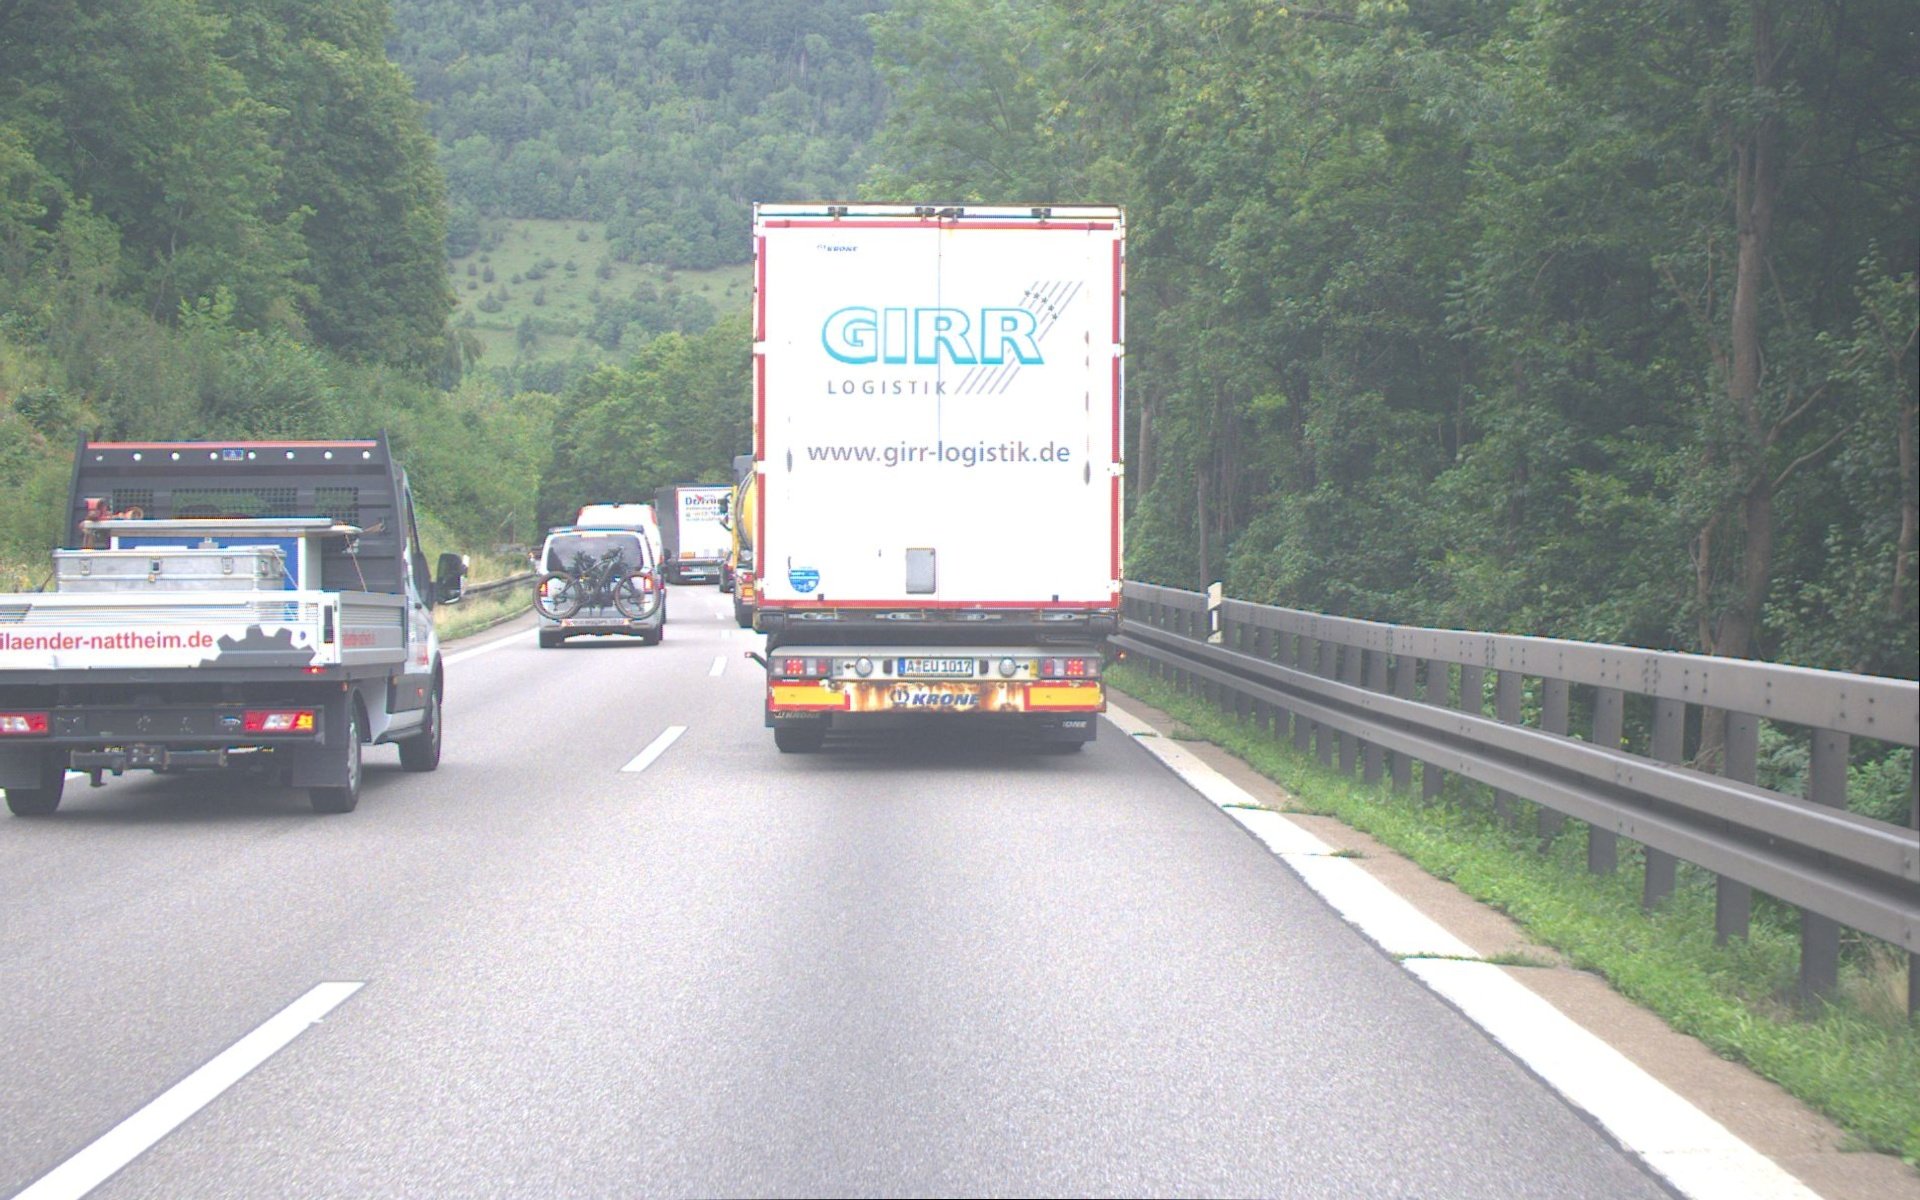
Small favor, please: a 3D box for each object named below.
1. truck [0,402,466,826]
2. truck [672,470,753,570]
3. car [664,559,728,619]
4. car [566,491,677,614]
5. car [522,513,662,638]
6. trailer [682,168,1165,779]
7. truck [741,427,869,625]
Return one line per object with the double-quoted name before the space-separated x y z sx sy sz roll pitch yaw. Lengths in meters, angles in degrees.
"truck" -4.680 0.024 21.957 2.349 2.266 6.850 1 1 -3
"truck" -10.054 -3.173 138.922 3.068 3.864 8.460 1 0 -5
"car" -9.014 -0.379 117.325 1.993 2.007 4.001 1 0 -7
"car" -7.368 -1.048 75.368 2.123 2.589 5.564 0 1 -3
"car" -5.904 -0.426 55.728 2.018 1.908 5.564 1 1 -4
"trailer" -0.407 -0.936 28.005 3.133 4.029 9.440 2 1 -2
"truck" -3.086 -1.455 69.921 2.233 3.791 6.823 1 0 0
